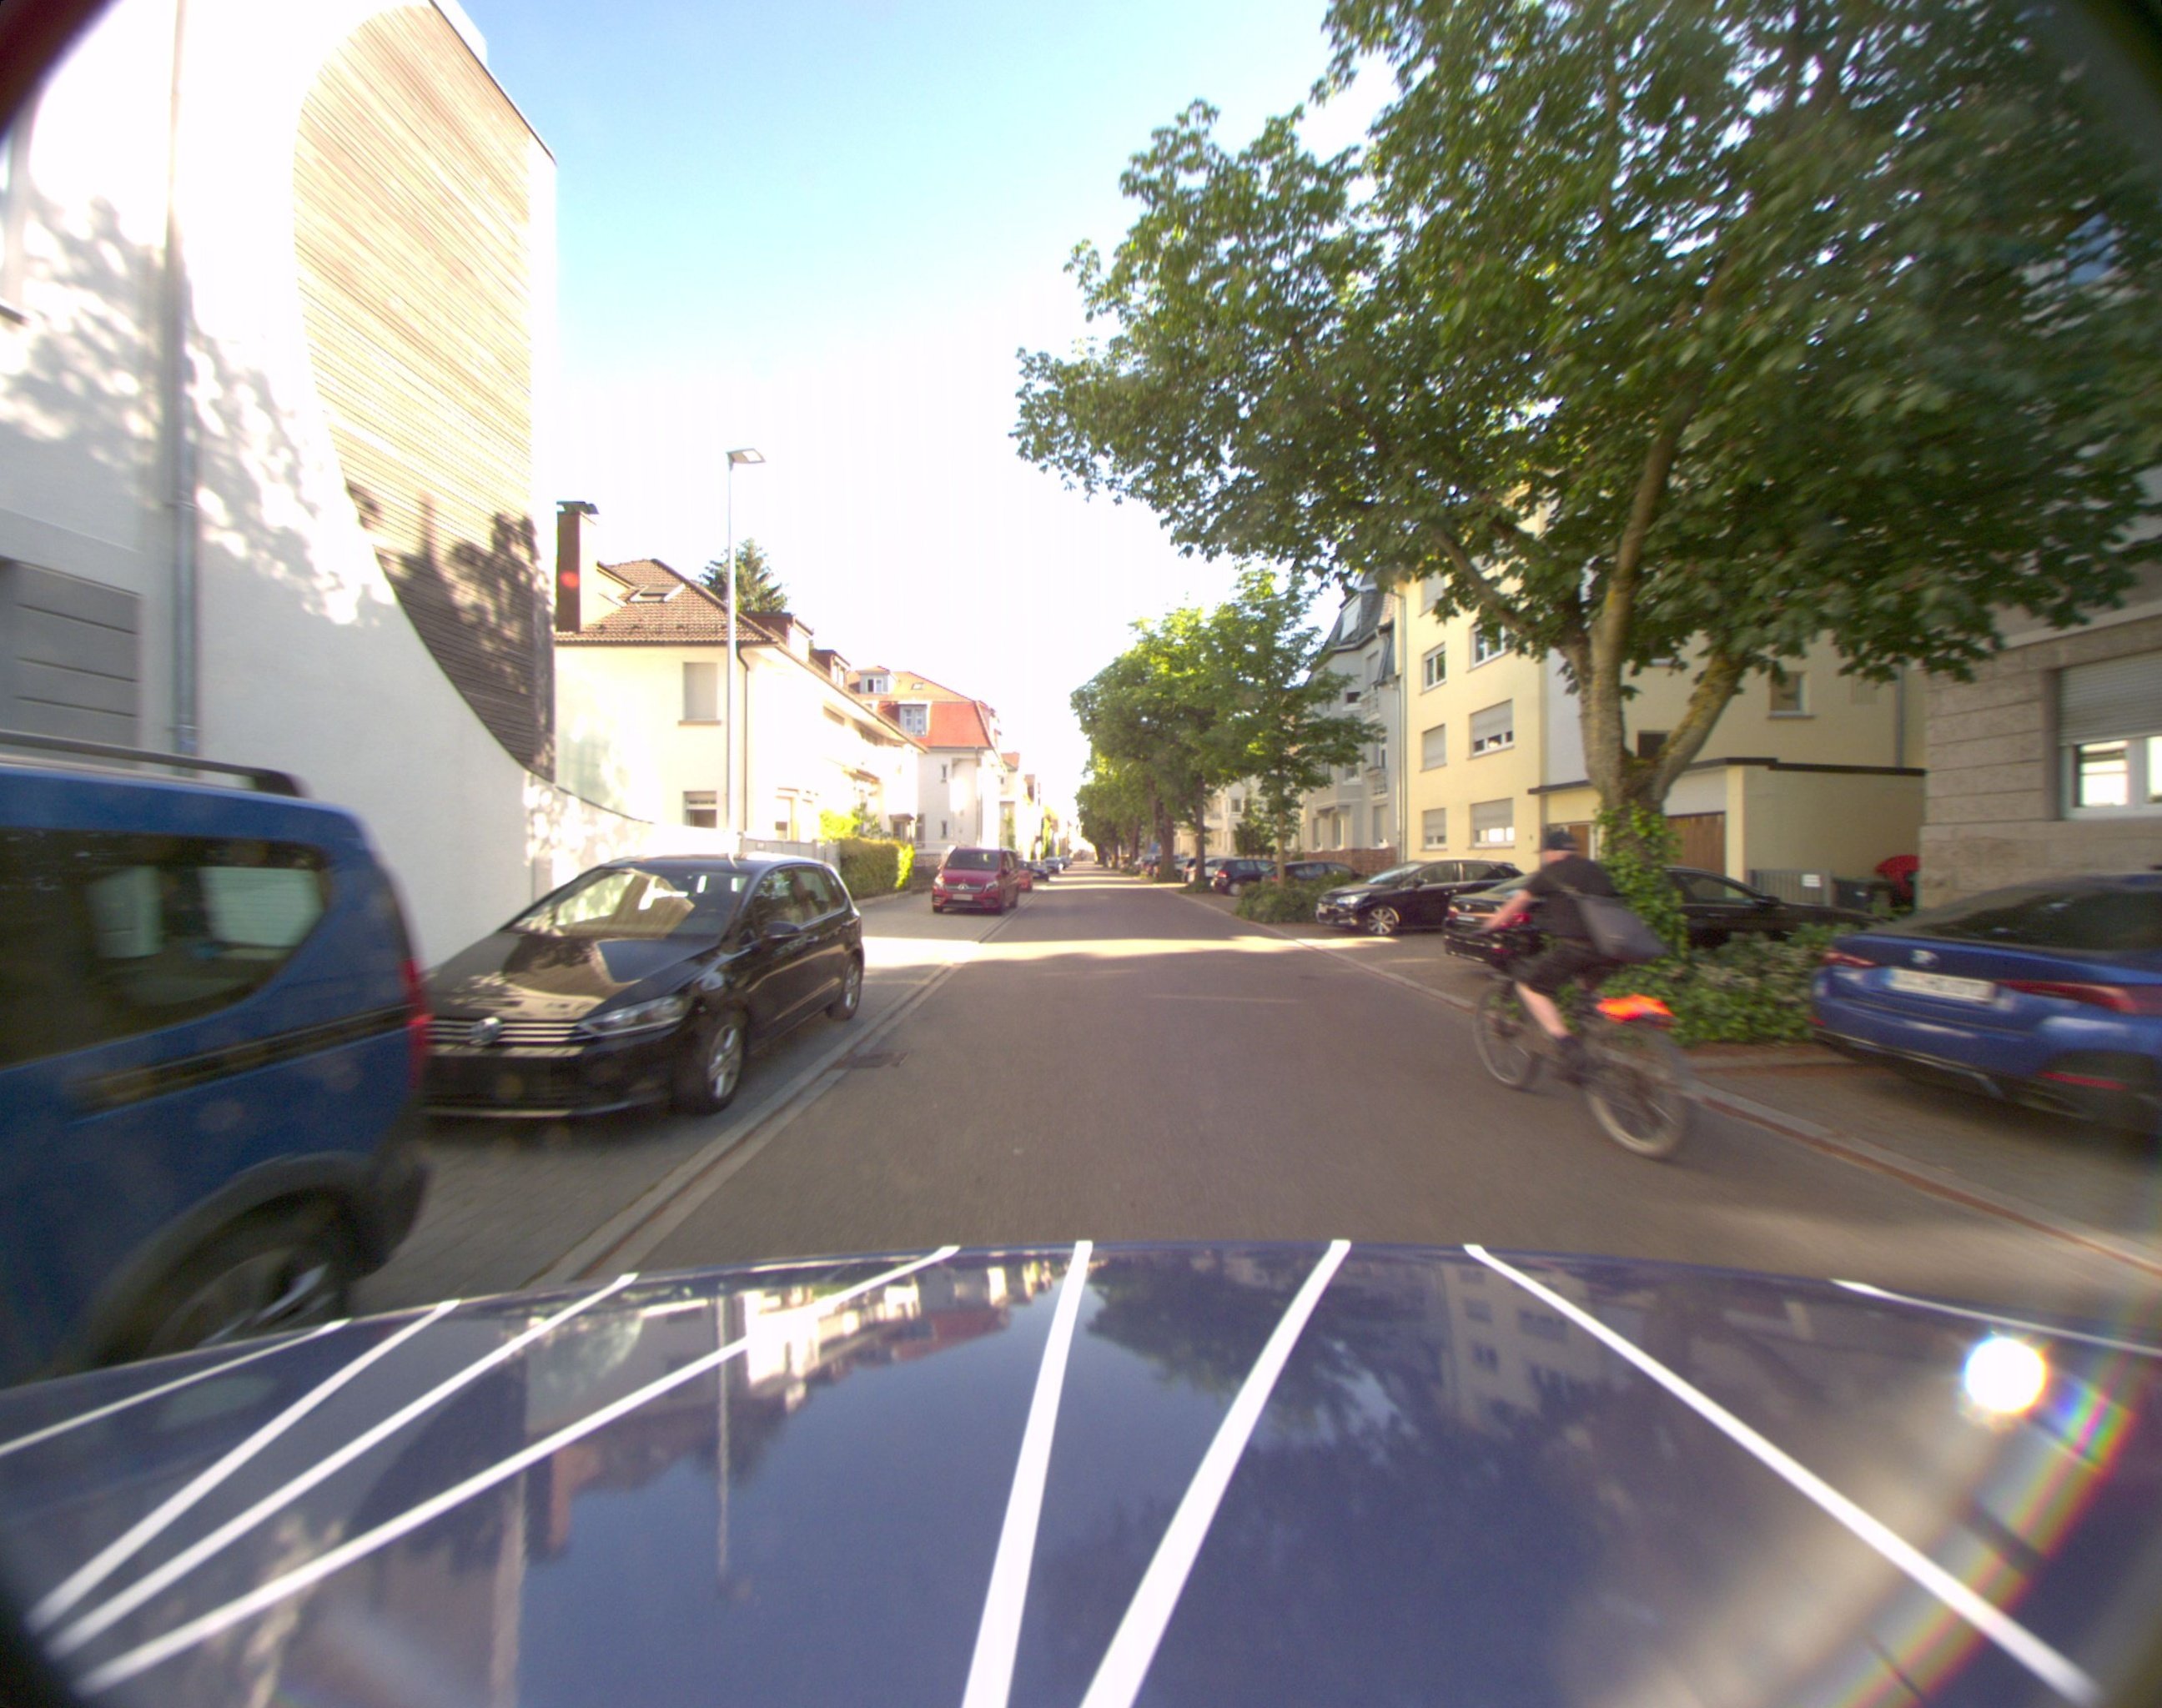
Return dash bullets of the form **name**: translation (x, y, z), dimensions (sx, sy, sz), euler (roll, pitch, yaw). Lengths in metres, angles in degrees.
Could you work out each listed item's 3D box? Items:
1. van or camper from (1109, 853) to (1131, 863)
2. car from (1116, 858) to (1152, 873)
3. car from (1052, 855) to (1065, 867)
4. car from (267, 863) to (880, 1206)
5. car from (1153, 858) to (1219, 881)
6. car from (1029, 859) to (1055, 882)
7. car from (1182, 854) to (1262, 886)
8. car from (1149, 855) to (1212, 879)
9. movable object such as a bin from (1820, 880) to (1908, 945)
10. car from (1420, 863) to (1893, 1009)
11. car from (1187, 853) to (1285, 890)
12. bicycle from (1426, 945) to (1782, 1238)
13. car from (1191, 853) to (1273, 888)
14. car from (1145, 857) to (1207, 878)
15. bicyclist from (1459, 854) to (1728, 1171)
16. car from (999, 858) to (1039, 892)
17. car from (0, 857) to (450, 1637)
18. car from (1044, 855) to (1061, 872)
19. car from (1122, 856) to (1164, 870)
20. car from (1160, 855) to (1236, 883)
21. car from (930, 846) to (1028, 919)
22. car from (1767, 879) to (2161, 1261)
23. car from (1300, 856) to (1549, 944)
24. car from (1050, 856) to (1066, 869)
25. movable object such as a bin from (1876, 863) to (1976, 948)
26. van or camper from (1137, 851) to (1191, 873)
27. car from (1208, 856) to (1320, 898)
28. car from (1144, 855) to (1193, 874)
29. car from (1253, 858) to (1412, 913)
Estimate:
- **van or camper**: translation (7.068, 0.737, 137.756), dimensions (3.954, 1.762, 1.809), euler (-1, -1, -1)
- **car**: translation (6.356, 1.354, 90.926), dimensions (3.883, 1.505, 1.831), euler (-3, 1, -9)
- **car**: translation (-2.917, 0.924, 101.057), dimensions (1.629, 1.540, 2.868), euler (-1, 1, 0)
- **car**: translation (-2.962, 0.885, 5.697), dimensions (1.741, 1.522, 4.178), euler (2, 0, 0)
- **car**: translation (6.651, 0.982, 48.487), dimensions (3.997, 1.460, 1.697), euler (0, 0, 0)
- **car**: translation (-2.619, 1.066, 51.524), dimensions (1.624, 1.431, 3.934), euler (2, 0, -2)
- **car**: translation (7.350, 0.835, 39.881), dimensions (3.872, 1.566, 1.848), euler (-2, 0, 3)
- **car**: translation (6.729, 0.853, 51.760), dimensions (3.998, 1.583, 1.878), euler (0, 0, -2)
- **movable object such as a bin**: translation (13.740, 1.009, 13.353), dimensions (0.674, 1.051, 0.832), euler (-2, 1, 0)
- **car**: translation (6.861, 0.922, 9.414), dimensions (4.486, 1.470, 1.868), euler (-1, 1, -2)
- **car**: translation (6.976, 0.789, 34.512), dimensions (4.033, 1.476, 1.807), euler (-2, 0, -1)
- **bicycle**: translation (2.744, 1.165, 4.309), dimensions (0.721, 1.072, 1.891), euler (0, 0, 1)
- **car**: translation (7.292, 0.800, 36.937), dimensions (3.525, 1.566, 1.770), euler (-2, 0, -5)
- **car**: translation (6.805, 0.982, 54.719), dimensions (4.198, 1.490, 1.861), euler (0, 0, -1)
- **bicyclist**: translation (2.762, 0.770, 4.246), dimensions (0.723, 1.528, 1.137), euler (0, 0, 0)
- **car**: translation (-2.871, 0.952, 35.688), dimensions (1.596, 1.472, 3.247), euler (2, 0, 0)
- **car**: translation (-2.936, 0.803, 0.342), dimensions (1.686, 1.427, 4.265), euler (4, 1, 0)
- **car**: translation (-2.966, 0.948, 77.693), dimensions (1.667, 1.511, 3.999), euler (1, 1, -3)
- **car**: translation (7.035, 1.015, 86.985), dimensions (4.602, 1.597, 1.832), euler (0, 0, -3)
- **car**: translation (7.056, 0.875, 46.196), dimensions (4.397, 1.642, 1.823), euler (0, 0, 1)
- **car**: translation (-2.868, 0.729, 22.611), dimensions (1.875, 1.894, 5.198), euler (1, 1, 4)
- **car**: translation (6.792, 0.929, 4.149), dimensions (4.486, 1.470, 1.868), euler (-1, 1, -2)
- **car**: translation (6.883, 0.871, 15.510), dimensions (4.185, 1.491, 1.999), euler (-2, 1, -5)
- **car**: translation (-2.733, 0.966, 90.137), dimensions (1.713, 1.428, 4.192), euler (2, 1, 0)
- **movable object such as a bin**: translation (14.670, 0.869, 13.219), dimensions (0.674, 1.389, 0.948), euler (-2, 1, 0)
- **van or camper**: translation (7.268, 0.711, 66.869), dimensions (4.508, 1.903, 1.964), euler (0, 0, 0)
- **car**: translation (7.111, 0.876, 29.798), dimensions (4.031, 1.436, 1.800), euler (-2, 1, 6)
- **car**: translation (7.330, 0.890, 64.156), dimensions (3.955, 1.489, 1.662), euler (-1, 0, 2)
- **car**: translation (7.186, 0.902, 21.991), dimensions (3.997, 1.413, 1.771), euler (-1, -1, -1)
